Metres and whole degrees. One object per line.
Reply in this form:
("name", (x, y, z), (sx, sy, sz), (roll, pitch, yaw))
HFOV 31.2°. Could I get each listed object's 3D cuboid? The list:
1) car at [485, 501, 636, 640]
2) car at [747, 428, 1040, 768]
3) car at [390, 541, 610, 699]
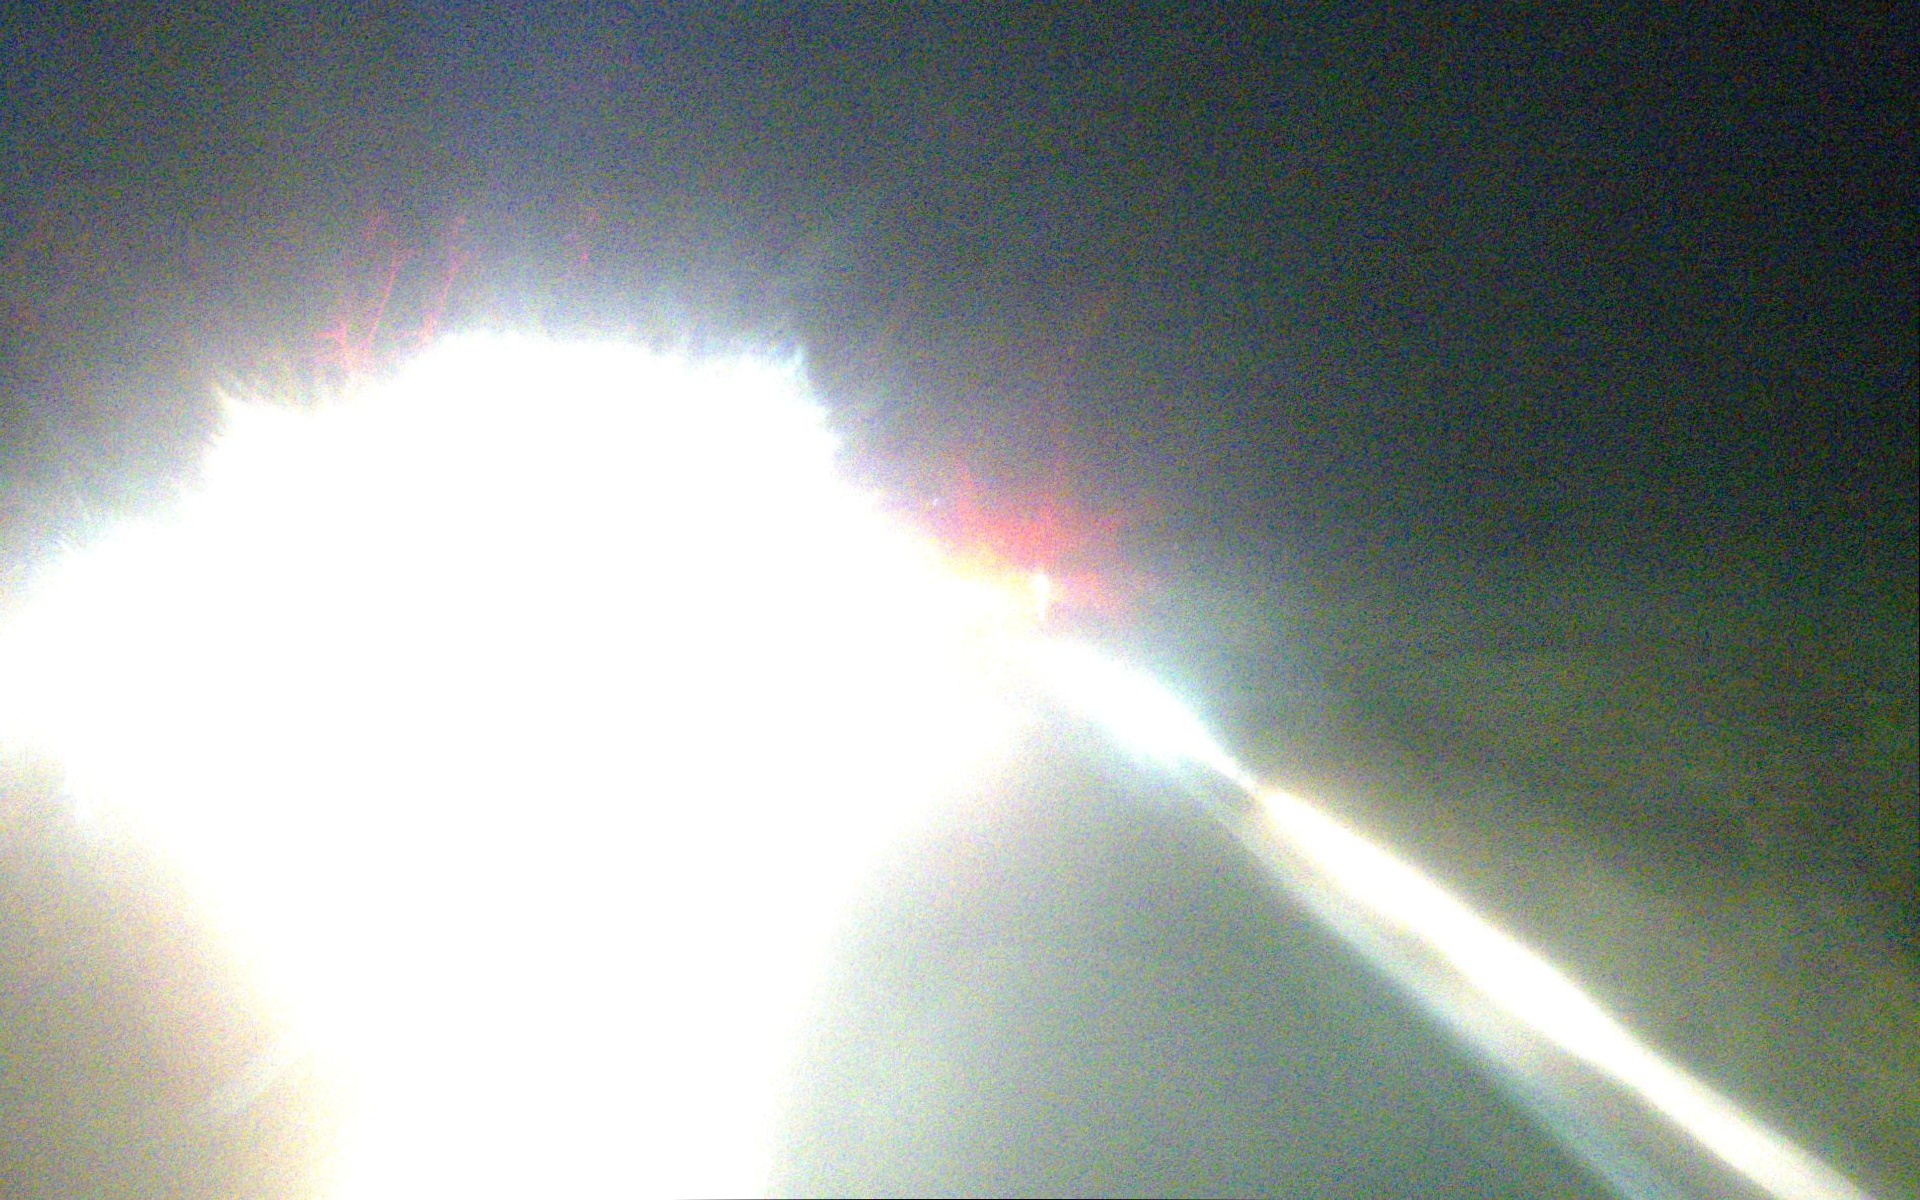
("car", (-6.196, -0.486, 53.725), (1.993, 2.061, 4.346), (-1, 1, -2))
("car", (-0.647, -0.047, 28.716), (2.181, 2.548, 4.508), (2, 1, -3))
("car", (-4.594, 0.160, 34.833), (1.851, 1.483, 3.994), (0, 1, -2))
